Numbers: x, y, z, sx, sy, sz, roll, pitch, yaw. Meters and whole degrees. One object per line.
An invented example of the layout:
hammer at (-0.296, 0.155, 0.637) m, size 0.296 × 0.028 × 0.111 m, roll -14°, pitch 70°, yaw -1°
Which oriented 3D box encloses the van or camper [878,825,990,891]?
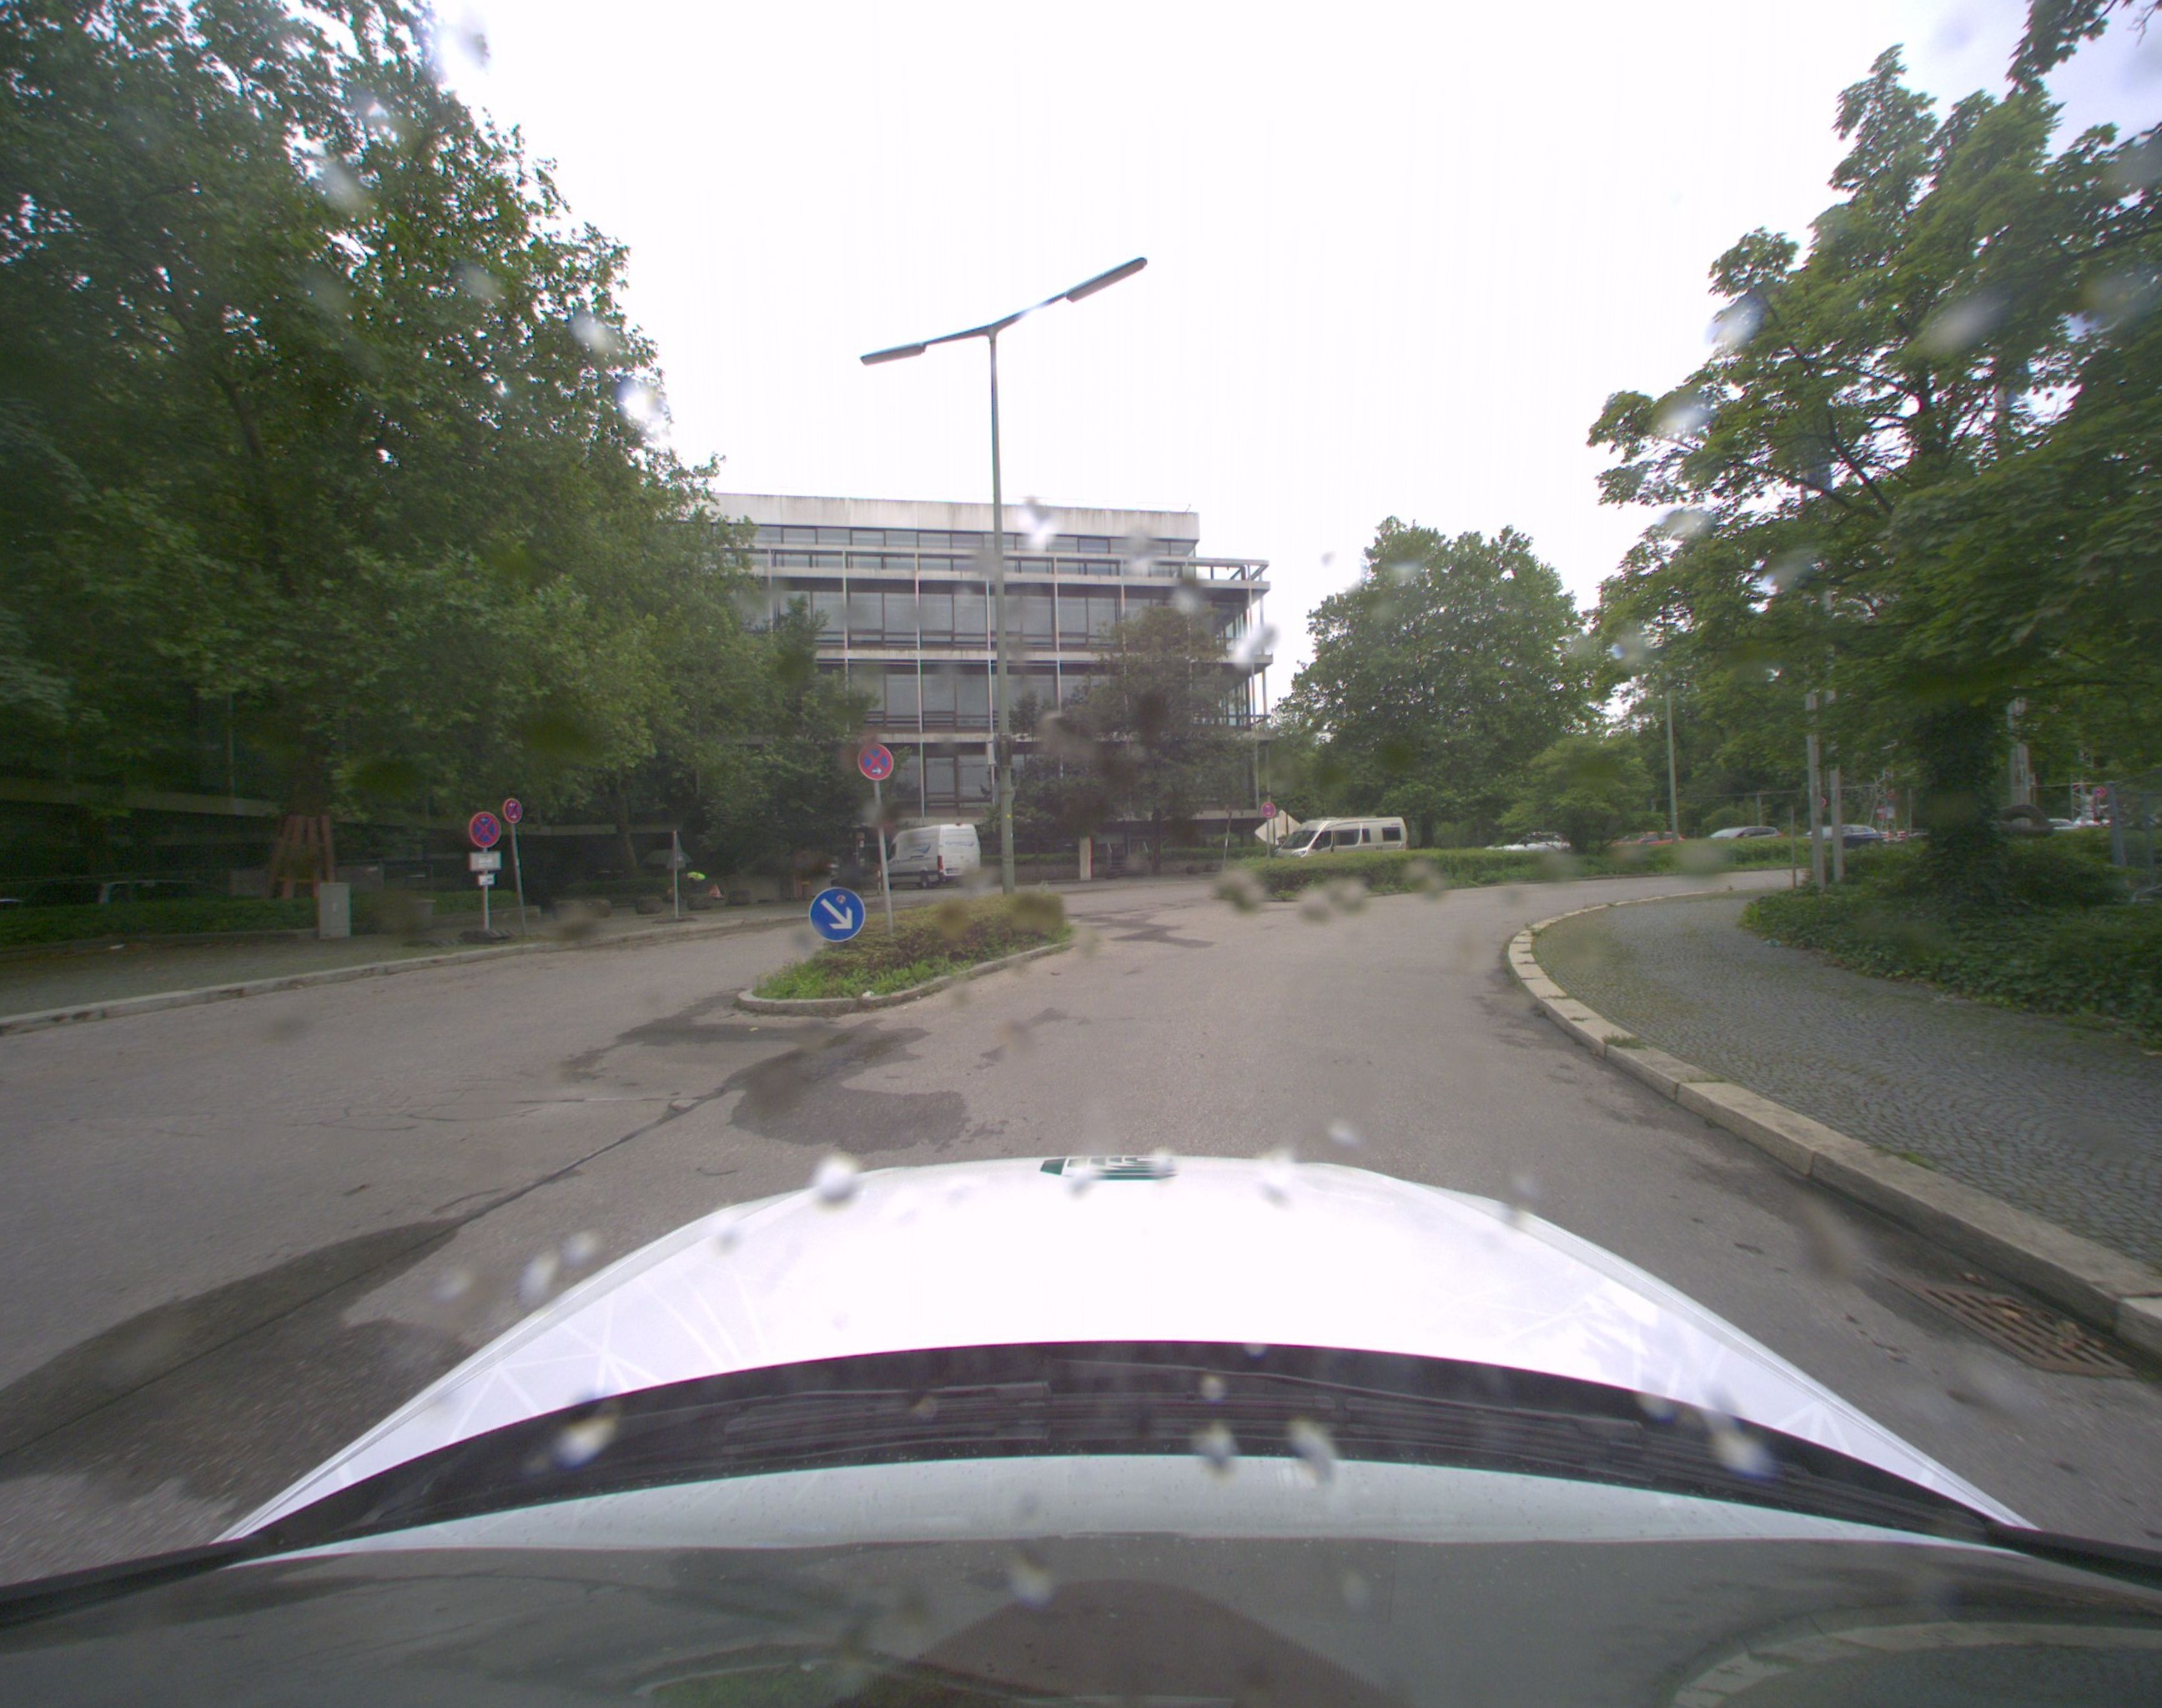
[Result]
van or camper at (-6.529, 0.255, 35.397) m, size 2.172 × 2.581 × 6.467 m, roll -1°, pitch -2°, yaw -35°

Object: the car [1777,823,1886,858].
car at (37.993, -0.667, 41.282) m, size 3.985 × 1.574 × 1.994 m, roll -2°, pitch 0°, yaw -9°

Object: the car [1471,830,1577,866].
car at (20.866, -0.293, 38.424) m, size 3.985 × 1.508 × 1.994 m, roll -2°, pitch 0°, yaw -9°

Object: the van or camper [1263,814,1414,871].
van or camper at (11.308, -0.530, 35.654) m, size 6.427 × 2.281 × 2.237 m, roll -2°, pitch 0°, yaw -24°

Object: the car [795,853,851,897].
car at (-11.133, 0.862, 35.368) m, size 1.944 × 1.721 × 4.219 m, roll -2°, pitch 0°, yaw -13°

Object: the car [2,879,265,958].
car at (-21.896, 1.415, 19.105) m, size 1.906 × 1.473 × 3.849 m, roll -2°, pitch 0°, yaw -8°

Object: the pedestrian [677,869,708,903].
pedestrian at (-15.093, 1.242, 31.640) m, size 0.925 × 1.278 × 0.540 m, roll -1°, pitch 0°, yaw -8°

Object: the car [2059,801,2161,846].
car at (56.660, -1.676, 44.434) m, size 4.857 × 2.227 × 2.197 m, roll -2°, pitch 0°, yaw -12°

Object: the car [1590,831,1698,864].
car at (27.154, -0.299, 39.334) m, size 3.985 × 1.409 × 1.994 m, roll -2°, pitch 0°, yaw -9°

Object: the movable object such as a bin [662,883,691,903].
movable object such as a bin at (-15.641, 1.505, 31.515) m, size 0.834 × 0.753 × 0.571 m, roll -1°, pitch 0°, yaw -8°
